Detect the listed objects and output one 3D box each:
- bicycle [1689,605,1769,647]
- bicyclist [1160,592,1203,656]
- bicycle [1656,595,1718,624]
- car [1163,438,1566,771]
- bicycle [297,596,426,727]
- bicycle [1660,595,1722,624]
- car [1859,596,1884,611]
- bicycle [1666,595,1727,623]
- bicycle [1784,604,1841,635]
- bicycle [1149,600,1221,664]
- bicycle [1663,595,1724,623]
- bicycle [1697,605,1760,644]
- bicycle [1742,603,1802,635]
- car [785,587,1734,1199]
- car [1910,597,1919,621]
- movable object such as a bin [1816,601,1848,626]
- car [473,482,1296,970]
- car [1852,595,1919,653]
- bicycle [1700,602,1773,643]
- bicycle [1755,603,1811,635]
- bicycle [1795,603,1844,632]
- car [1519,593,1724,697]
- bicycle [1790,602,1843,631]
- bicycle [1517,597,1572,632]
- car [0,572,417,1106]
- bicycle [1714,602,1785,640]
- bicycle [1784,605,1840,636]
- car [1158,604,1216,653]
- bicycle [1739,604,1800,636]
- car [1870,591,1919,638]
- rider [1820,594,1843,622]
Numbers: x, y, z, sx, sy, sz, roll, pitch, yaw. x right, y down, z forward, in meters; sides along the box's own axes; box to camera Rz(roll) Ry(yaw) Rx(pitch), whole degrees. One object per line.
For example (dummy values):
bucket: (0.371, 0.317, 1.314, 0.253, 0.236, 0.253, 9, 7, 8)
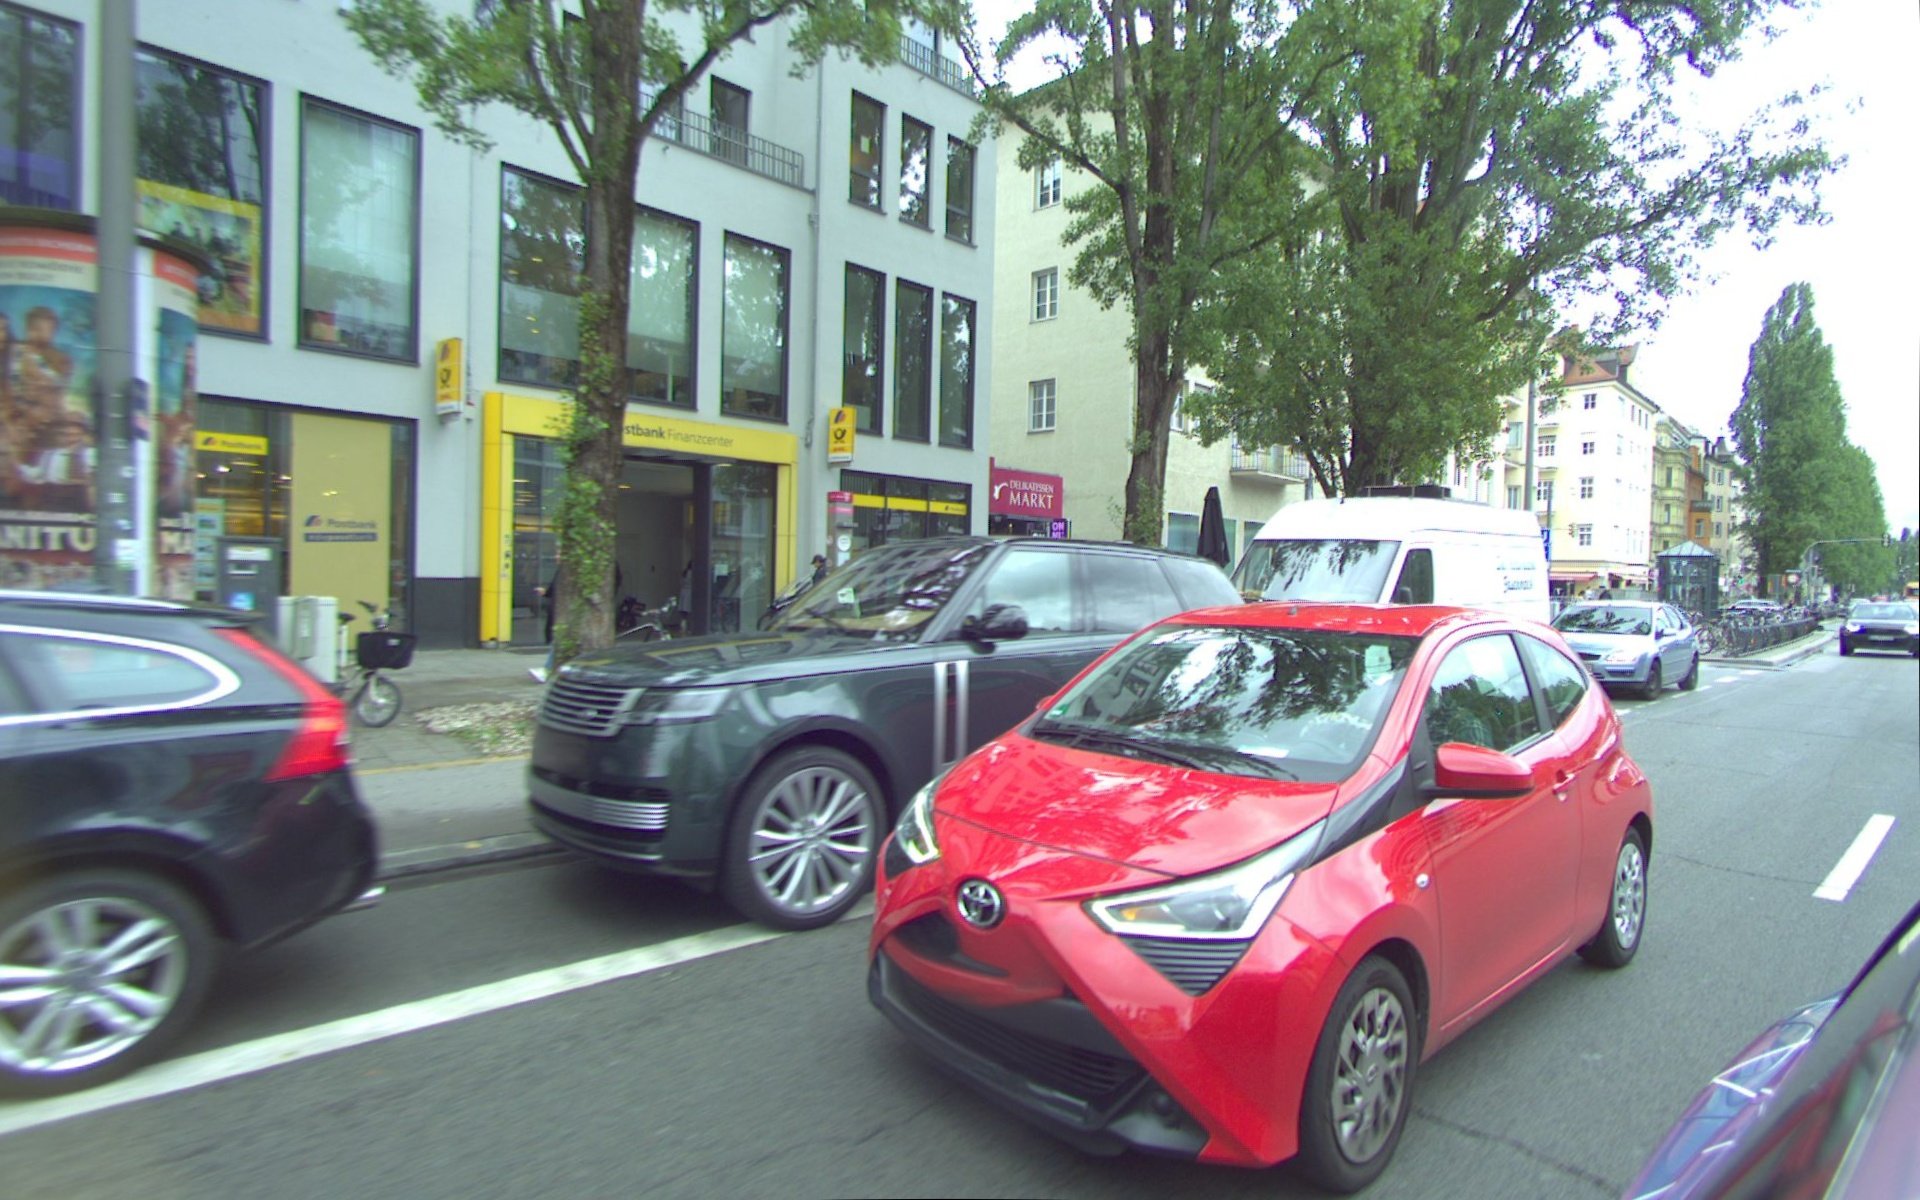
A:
bicycle: (20.173, 0.690, 26.592, 0.535, 1.068, 1.803, 1, -2, -7)
bicyclist: (4.359, 0.461, 19.918, 0.631, 1.210, 0.539, 0, 2, -45)
bicycle: (34.728, 0.445, 48.360, 0.617, 1.242, 2.316, 1, 2, -42)
car: (4.649, -0.008, 11.053, 5.462, 2.776, 1.995, -1, 1, -44)
bicycle: (-5.420, 0.516, 9.141, 1.296, 1.036, 0.564, 3, 3, 37)
bicycle: (35.204, 0.440, 48.764, 0.617, 1.242, 2.316, 1, 2, -42)
car: (108.512, 0.423, 120.480, 1.995, 1.660, 3.935, 3, 2, 45)
bicycle: (36.172, 0.425, 49.719, 0.617, 1.242, 2.316, 1, 2, -42)
bicycle: (33.807, 0.762, 40.158, 0.578, 1.151, 1.799, 1, 1, -9)
bicycle: (4.545, 0.626, 20.400, 0.527, 1.209, 1.744, 4, 3, 45)
bicycle: (35.664, 0.433, 49.228, 0.617, 1.242, 2.316, 1, 2, -42)
bicycle: (21.561, 0.697, 28.432, 0.360, 1.068, 1.801, 0, -2, -1)
bicycle: (27.415, 0.654, 34.201, 0.389, 1.073, 1.803, 1, -2, -7)
car: (1.319, 0.691, 3.763, 3.531, 1.464, 1.669, -1, 1, -38)
car: (68.885, 0.671, 71.795, 1.993, 1.660, 3.939, 3, 2, 42)
movable object such as a bin: (42.481, 0.653, 49.315, 1.086, 1.075, 0.736, 5, 4, 42)
car: (-0.129, 0.457, 6.064, 4.695, 1.827, 1.933, 0, 1, -41)
car: (26.413, 0.644, 28.574, 1.735, 1.488, 3.988, 2, 1, 43)
bicycle: (22.135, 0.654, 28.885, 0.535, 1.119, 1.803, 1, -2, -7)
bicycle: (27.977, 0.652, 34.434, 0.390, 1.073, 1.851, 0, -2, 0)
bicycle: (35.982, 0.705, 42.373, 0.469, 1.151, 1.680, 1, 1, -6)
car: (10.732, 0.632, 16.310, 4.075, 1.472, 1.728, 0, 0, -41)
bicycle: (36.393, 0.694, 43.026, 0.468, 1.151, 1.789, 1, 1, -11)
bicycle: (20.703, 0.496, 35.881, 0.402, 1.116, 1.635, 1, 3, -36)
car: (-4.098, 0.635, 2.581, 4.493, 1.451, 1.773, 0, 0, -43)
bicycle: (23.596, 0.633, 30.296, 0.535, 1.119, 1.803, 1, -2, -7)
bicycle: (32.942, 0.778, 39.175, 0.480, 1.151, 1.798, 1, 1, -7)
car: (4.535, 0.555, 20.137, 0.367, 0.915, 1.472, 4, 3, 45)
bicycle: (26.515, 0.670, 33.181, 0.378, 1.024, 1.803, 1, -2, -7)
car: (38.599, 0.559, 41.301, 1.994, 1.772, 3.935, 1, 1, 45)
rider: (42.511, 0.386, 49.364, 0.730, 1.256, 0.722, 5, 4, 42)
